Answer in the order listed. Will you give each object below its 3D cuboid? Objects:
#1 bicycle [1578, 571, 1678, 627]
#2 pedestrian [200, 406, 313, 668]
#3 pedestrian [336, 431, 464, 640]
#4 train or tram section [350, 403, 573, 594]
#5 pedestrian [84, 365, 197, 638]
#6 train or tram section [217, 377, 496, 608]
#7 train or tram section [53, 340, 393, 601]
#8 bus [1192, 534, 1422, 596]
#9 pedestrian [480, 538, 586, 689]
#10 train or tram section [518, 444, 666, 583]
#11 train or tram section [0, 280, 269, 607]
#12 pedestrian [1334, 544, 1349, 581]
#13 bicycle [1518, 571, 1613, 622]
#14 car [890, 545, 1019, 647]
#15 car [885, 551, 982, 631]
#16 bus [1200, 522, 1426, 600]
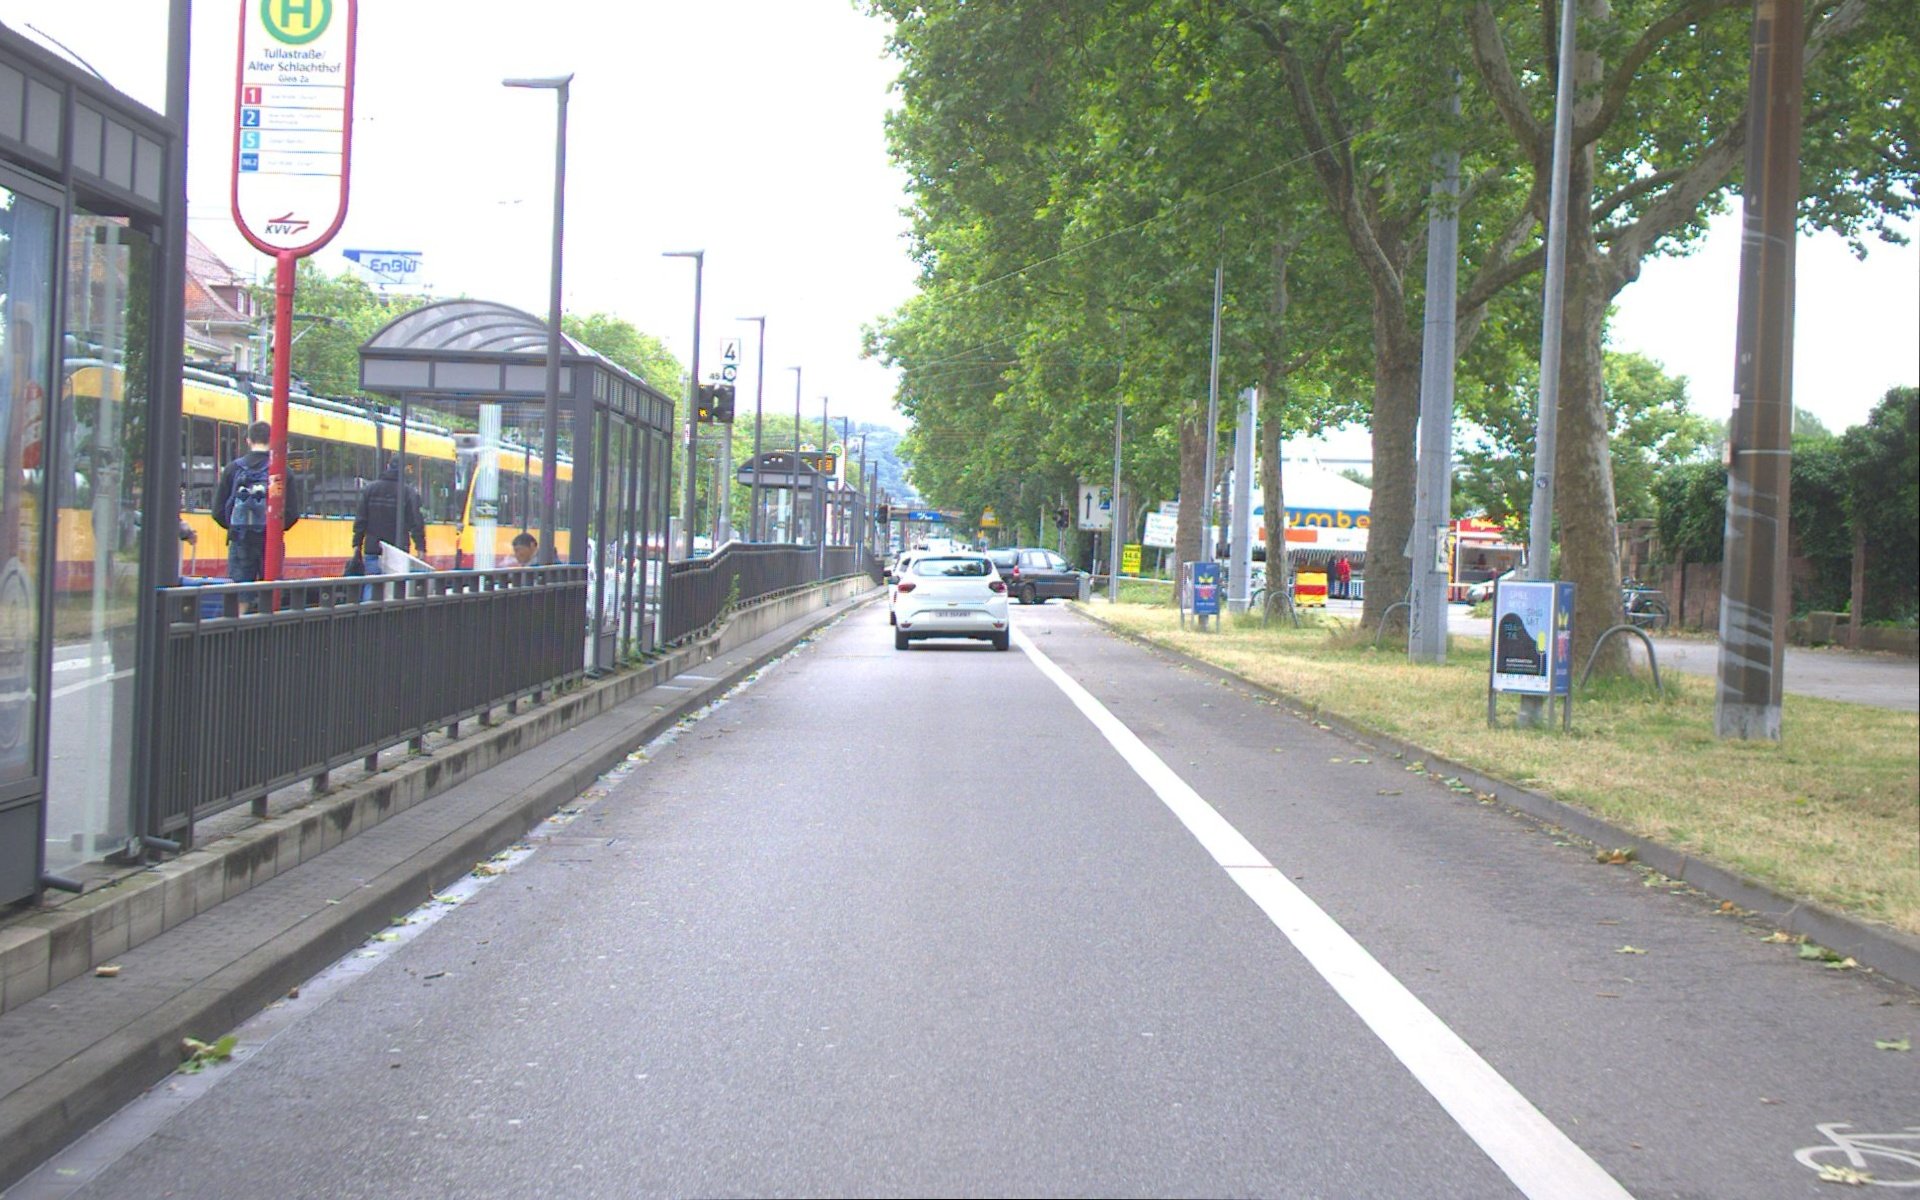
[{"bbox_3d":[13.392,-0.018,68.955,1.889,1.101,0.550,1,0,-2],"label":"bicycle"},{"bbox_3d":[-4.972,-0.442,24.346,0.670,1.787,1.113,2,0,-9],"label":"pedestrian"},{"bbox_3d":[-5.525,-0.629,33.985,1.058,2.007,0.840,2,0,0],"label":"pedestrian"},{"bbox_3d":[-11.997,-2.312,84.355,3.180,4.164,14.734,2,0,0],"label":"train or tram section"},{"bbox_3d":[-5.569,-0.658,23.378,0.670,1.787,1.113,2,0,-13],"label":"pedestrian"},{"bbox_3d":[-12.059,-2.026,70.288,3.180,4.164,13.621,2,0,0],"label":"train or tram section"},{"bbox_3d":[-12.118,-1.997,57.831,3.163,3.849,11.311,2,0,0],"label":"train or tram section"},{"bbox_3d":[14.397,-1.440,142.904,9.276,2.220,2.000,2,0,-2],"label":"bus"},{"bbox_3d":[-3.788,0.121,30.563,0.835,1.299,0.613,2,0,-2],"label":"pedestrian"},{"bbox_3d":[-12.018,-2.720,113.740,3.180,4.164,14.734,2,0,0],"label":"train or tram section"},{"bbox_3d":[-12.160,-1.930,46.450,3.237,3.849,11.311,2,0,0],"label":"train or tram section"},{"bbox_3d":[15.231,-1.512,137.211,0.492,1.458,0.524,2,0,-3],"label":"pedestrian"},{"bbox_3d":[13.051,-0.074,74.108,1.921,1.087,0.550,1,0,-2],"label":"bicycle"},{"bbox_3d":[-0.066,-0.071,53.430,1.885,1.448,4.000,2,0,1],"label":"car"},{"bbox_3d":[-0.513,-0.204,70.344,1.841,1.546,4.000,2,1,1],"label":"car"},{"bbox_3d":[15.007,-1.653,146.477,9.276,2.950,2.000,2,0,-2],"label":"bus"}]
